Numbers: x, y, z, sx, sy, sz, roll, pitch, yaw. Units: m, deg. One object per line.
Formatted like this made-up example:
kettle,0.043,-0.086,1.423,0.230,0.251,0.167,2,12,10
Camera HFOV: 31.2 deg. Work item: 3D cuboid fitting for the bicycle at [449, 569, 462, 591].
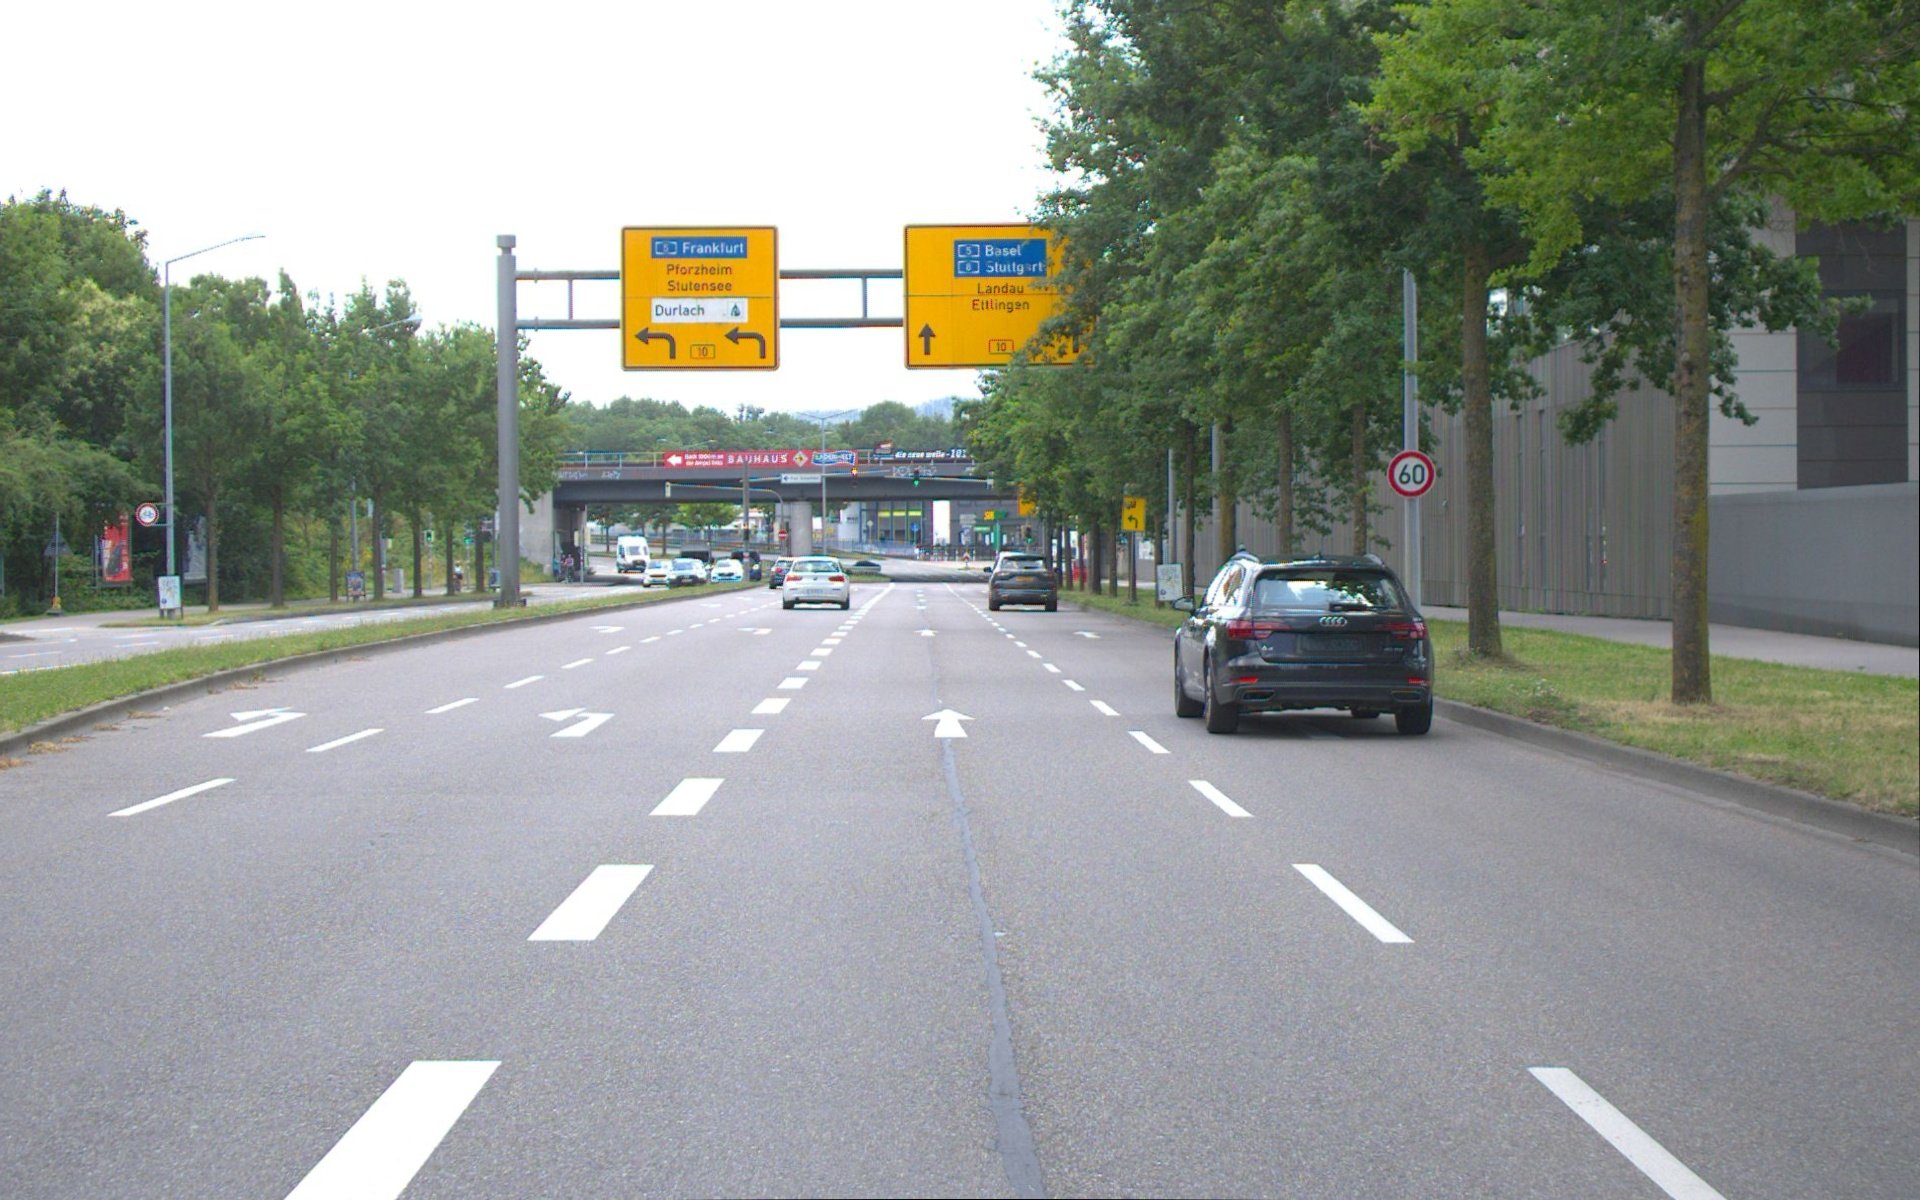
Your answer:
bicycle,-25.514,-1.031,173.763,0.460,1.087,1.474,1,0,-2

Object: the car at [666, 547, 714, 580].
car,-13.213,-1.804,168.590,1.993,1.612,4.000,0,1,0

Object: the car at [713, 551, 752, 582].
car,-13.267,-1.937,200.472,1.993,1.711,4.000,1,0,-1

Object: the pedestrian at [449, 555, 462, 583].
pedestrian,-25.495,-1.573,173.699,0.558,1.395,0.563,1,0,-2

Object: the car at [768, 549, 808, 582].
car,-7.844,-1.588,156.458,1.774,1.458,4.001,1,1,-3

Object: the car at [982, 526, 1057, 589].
car,1.663,-1.200,95.330,1.993,1.620,4.310,-1,2,1

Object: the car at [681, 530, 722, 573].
car,-16.593,-3.095,220.540,1.994,2.631,5.236,1,0,2

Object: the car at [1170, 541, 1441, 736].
car,2.768,0.272,28.322,1.683,1.458,4.000,1,1,-2

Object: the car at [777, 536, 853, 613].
car,-3.982,-0.713,93.823,1.993,2.007,4.001,1,1,-3

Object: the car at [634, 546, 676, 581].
car,-16.286,-1.935,183.759,1.993,1.777,4.000,1,0,-2
